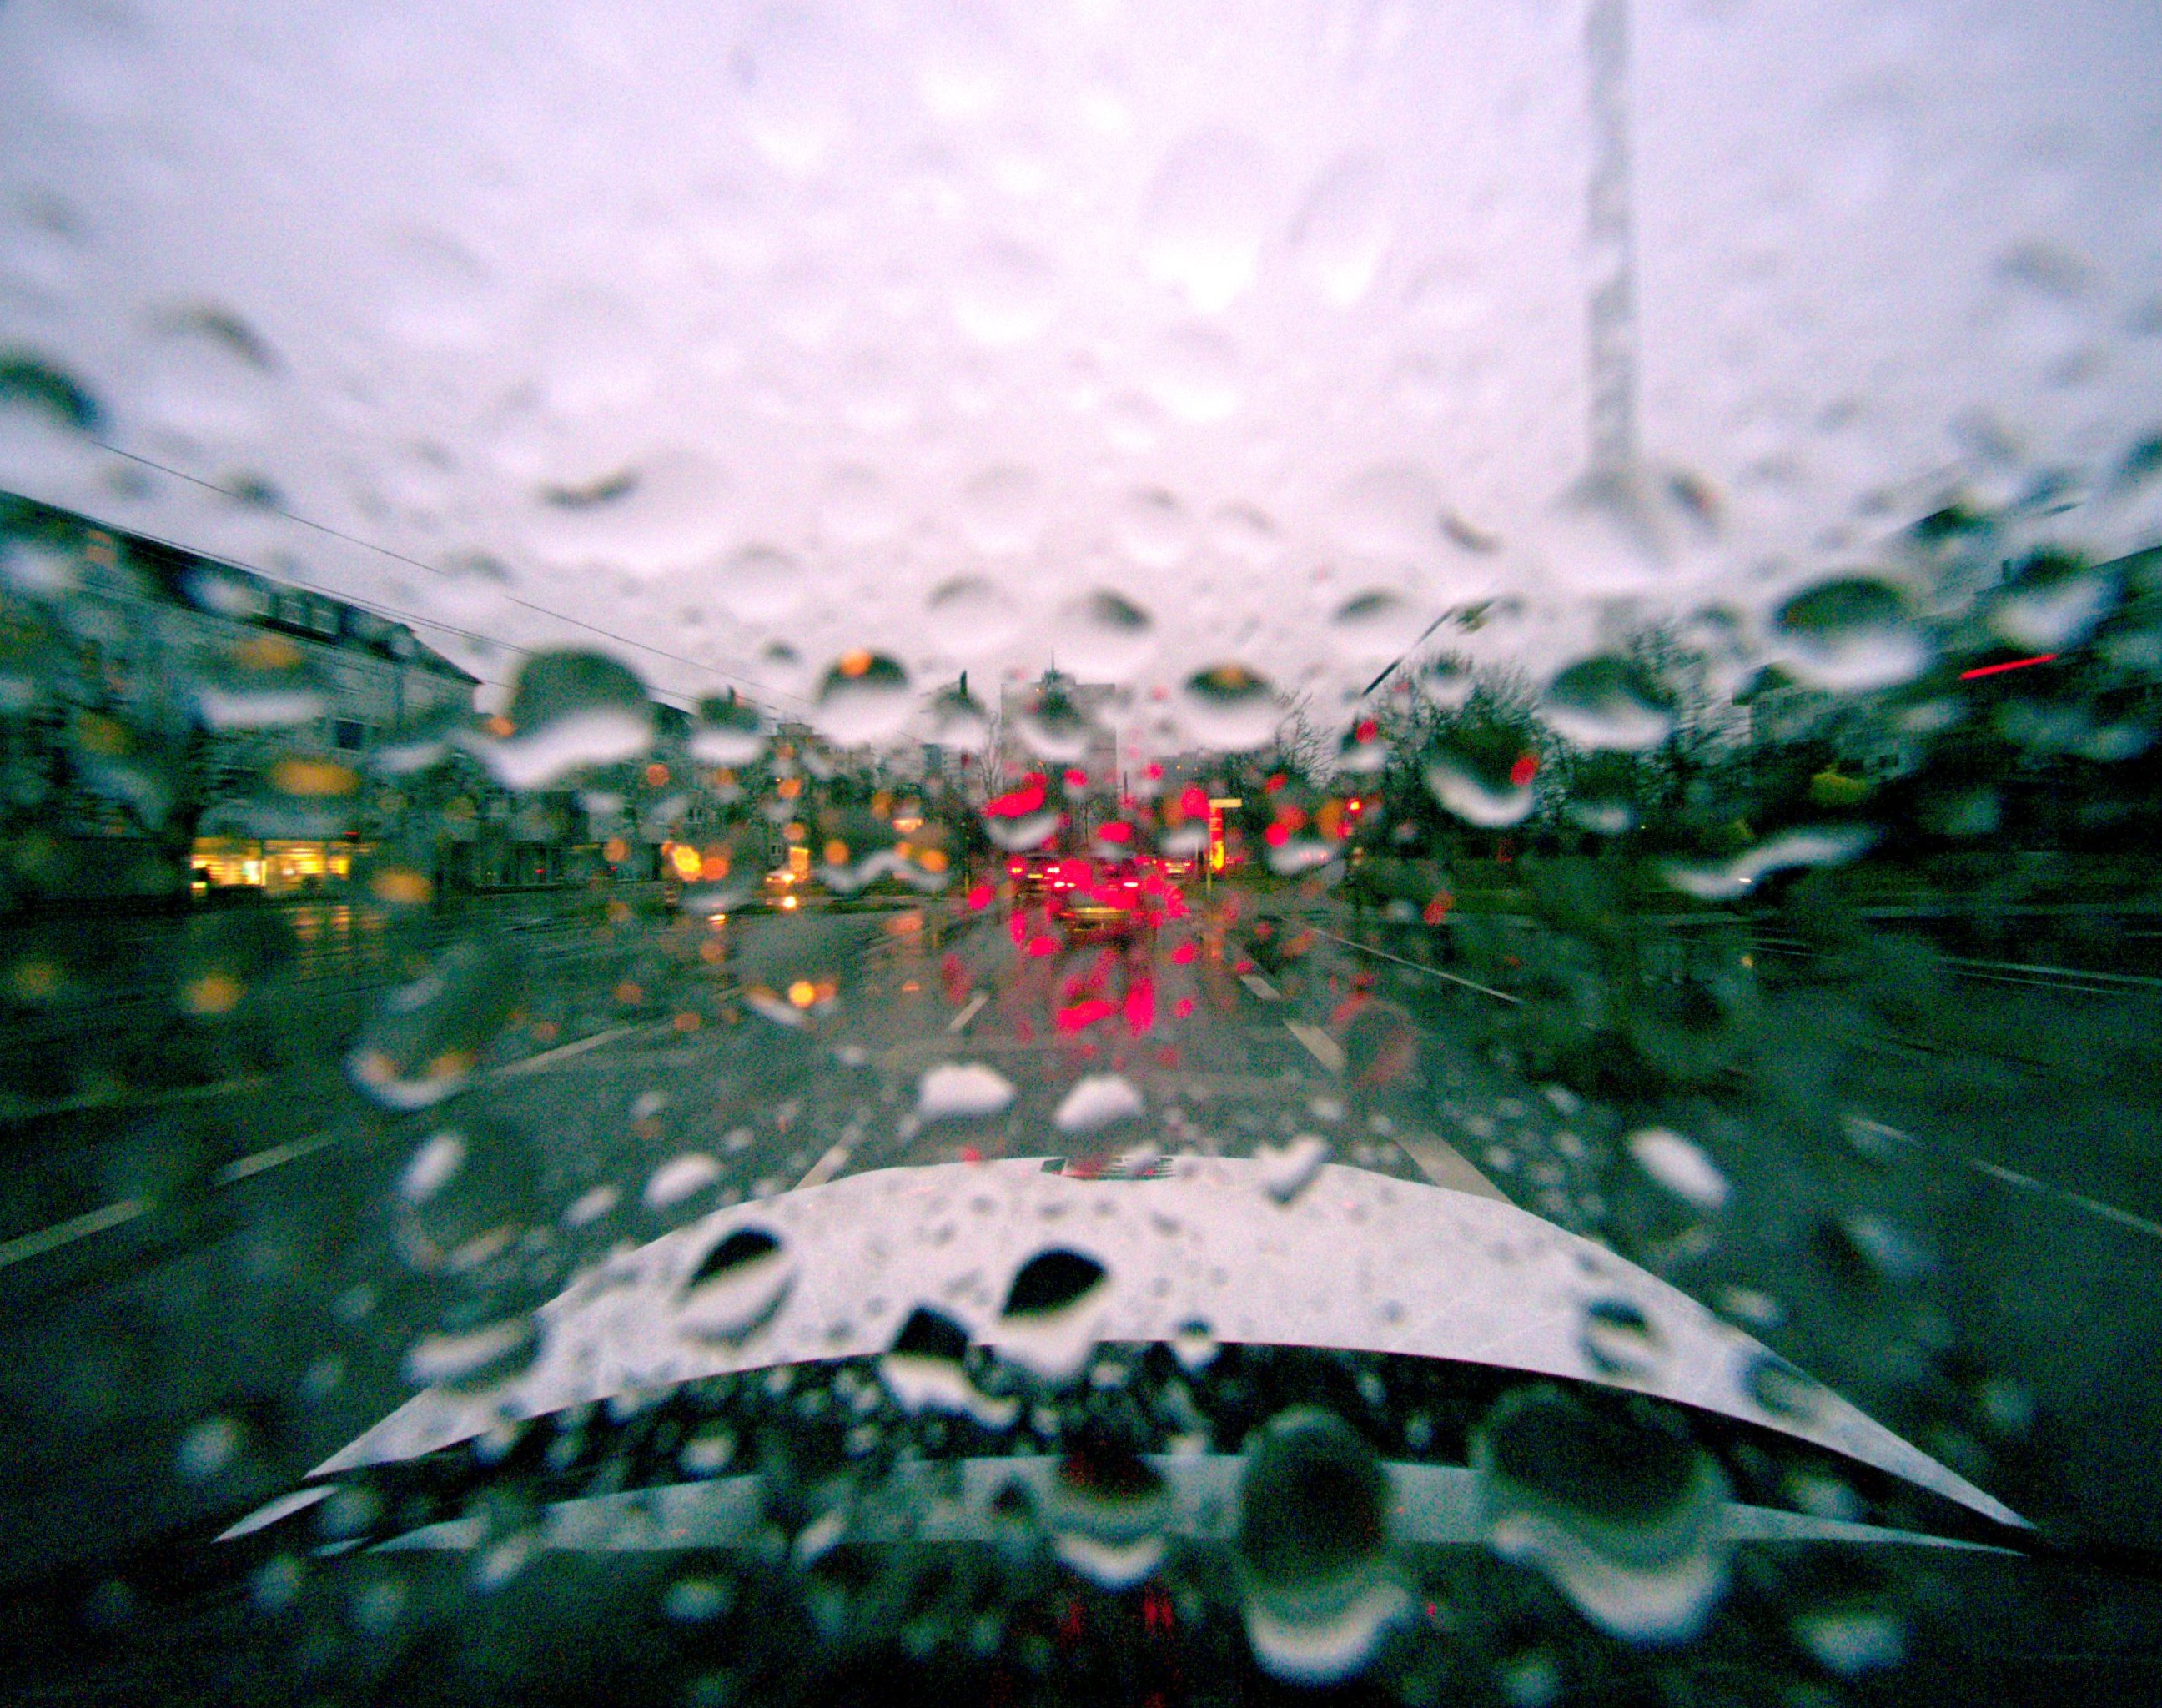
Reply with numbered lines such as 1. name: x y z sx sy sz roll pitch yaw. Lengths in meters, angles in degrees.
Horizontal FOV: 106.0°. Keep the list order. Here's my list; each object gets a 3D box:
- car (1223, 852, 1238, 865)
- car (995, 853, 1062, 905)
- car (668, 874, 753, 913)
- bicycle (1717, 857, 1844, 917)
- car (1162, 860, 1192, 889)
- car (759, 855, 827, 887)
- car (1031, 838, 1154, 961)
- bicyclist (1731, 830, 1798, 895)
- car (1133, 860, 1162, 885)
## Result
1. car: 17.225 0.531 93.796 1.527 1.513 3.348 0 -1 7
2. car: -1.813 0.870 29.396 1.986 1.712 4.325 1 -1 1
3. car: -16.122 1.682 35.659 1.798 1.607 4.000 1 -1 1
4. bicycle: 15.619 0.714 18.227 1.958 1.215 1.040 -2 1 -2
5. car: 6.572 1.403 55.453 1.845 1.892 4.010 0 -1 9
6. car: -14.772 0.872 42.046 1.581 1.529 4.935 1 -1 1
7. car: 0.320 0.779 15.286 1.985 1.976 4.072 0 -1 3
8. bicyclist: 15.246 0.193 18.195 0.747 1.430 0.928 0 -1 5
9. car: 5.213 1.445 63.643 1.760 1.892 3.654 0 -1 12
